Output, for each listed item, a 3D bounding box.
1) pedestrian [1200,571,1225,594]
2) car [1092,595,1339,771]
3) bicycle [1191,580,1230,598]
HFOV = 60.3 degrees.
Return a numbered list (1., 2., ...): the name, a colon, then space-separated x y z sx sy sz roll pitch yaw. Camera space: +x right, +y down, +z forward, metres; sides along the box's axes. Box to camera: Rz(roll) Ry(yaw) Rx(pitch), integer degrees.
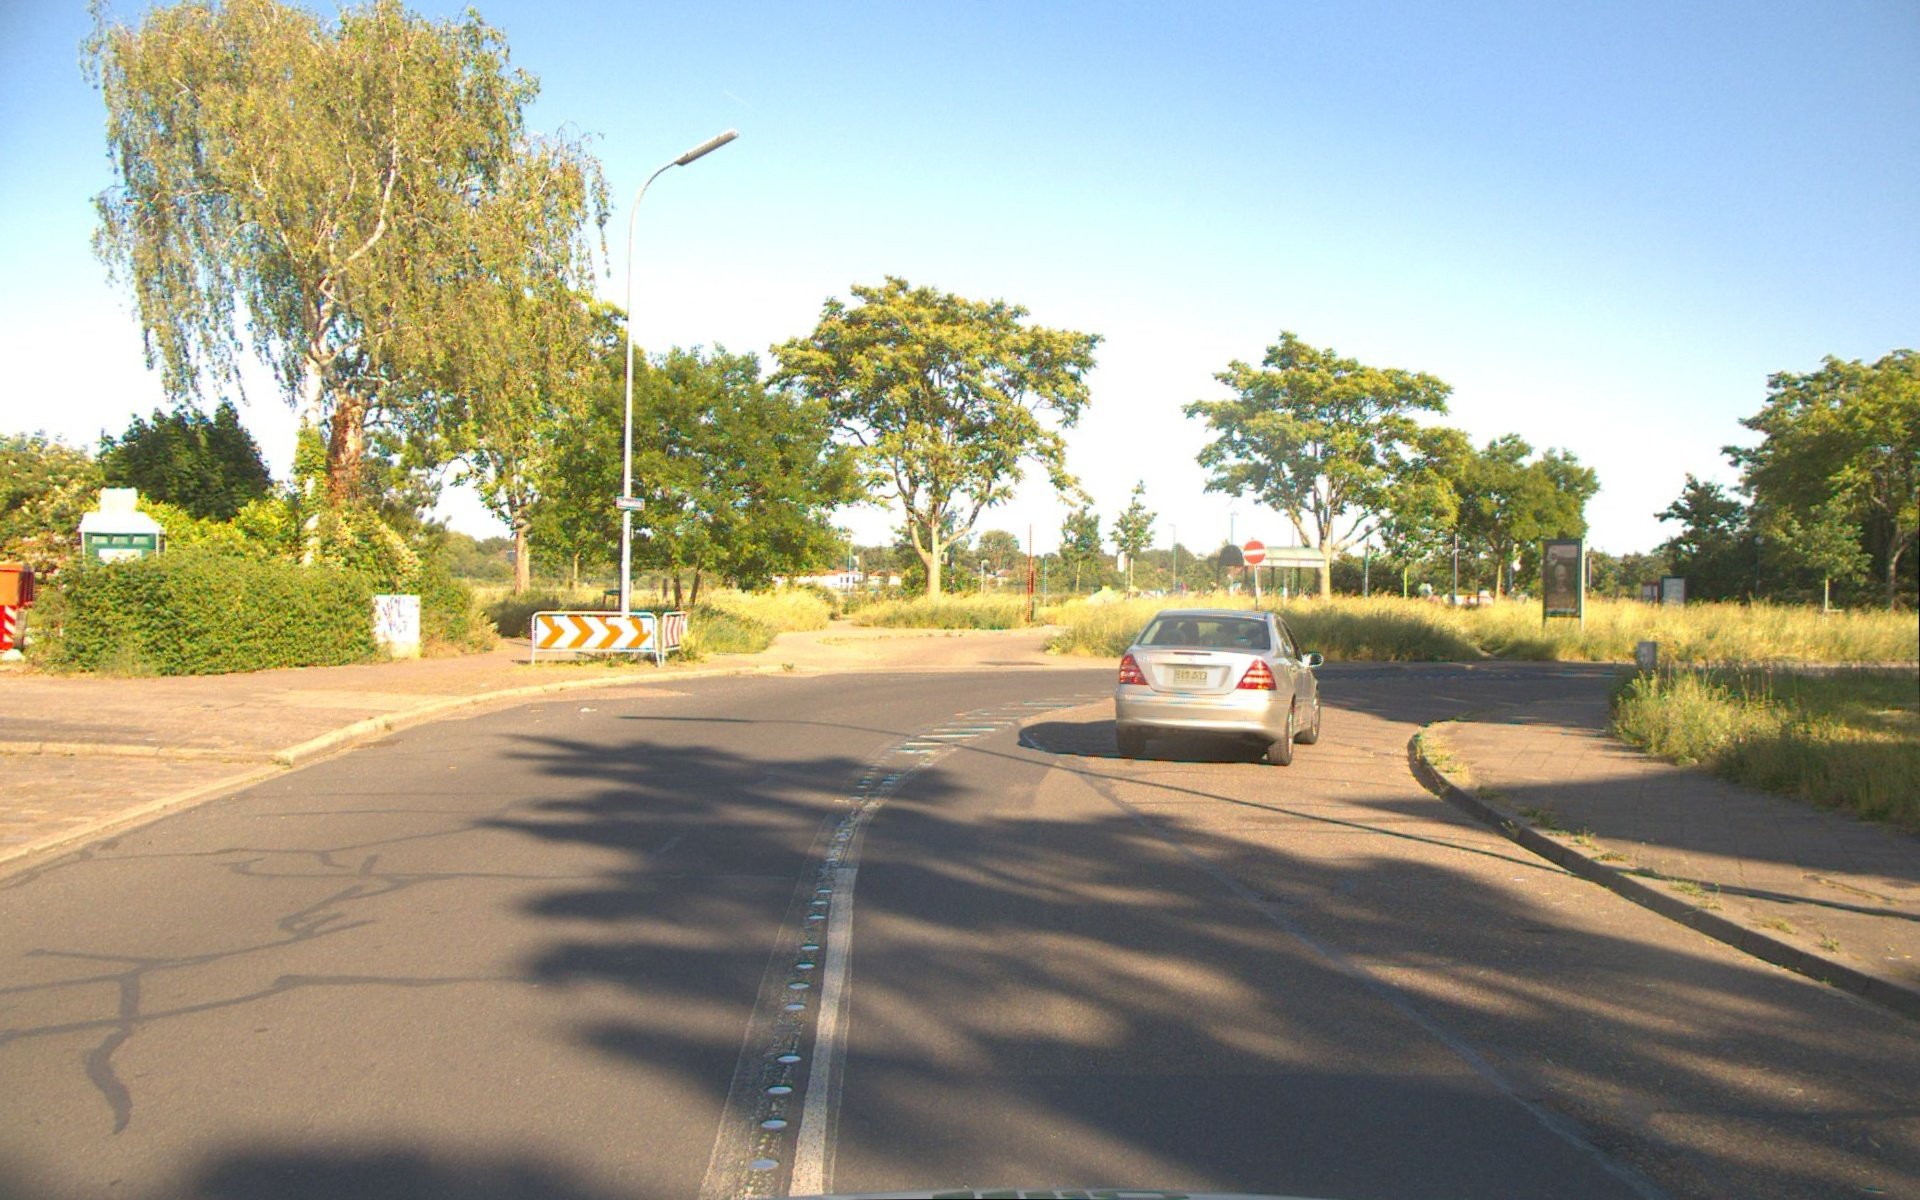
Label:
1. pedestrian: 10.766 -0.746 70.508 0.789 0.957 0.696 1 1 -30
2. car: 2.753 0.721 16.961 1.778 1.488 4.363 2 1 18
3. bicycle: 10.682 -0.458 70.456 1.554 0.716 0.648 2 0 -30
